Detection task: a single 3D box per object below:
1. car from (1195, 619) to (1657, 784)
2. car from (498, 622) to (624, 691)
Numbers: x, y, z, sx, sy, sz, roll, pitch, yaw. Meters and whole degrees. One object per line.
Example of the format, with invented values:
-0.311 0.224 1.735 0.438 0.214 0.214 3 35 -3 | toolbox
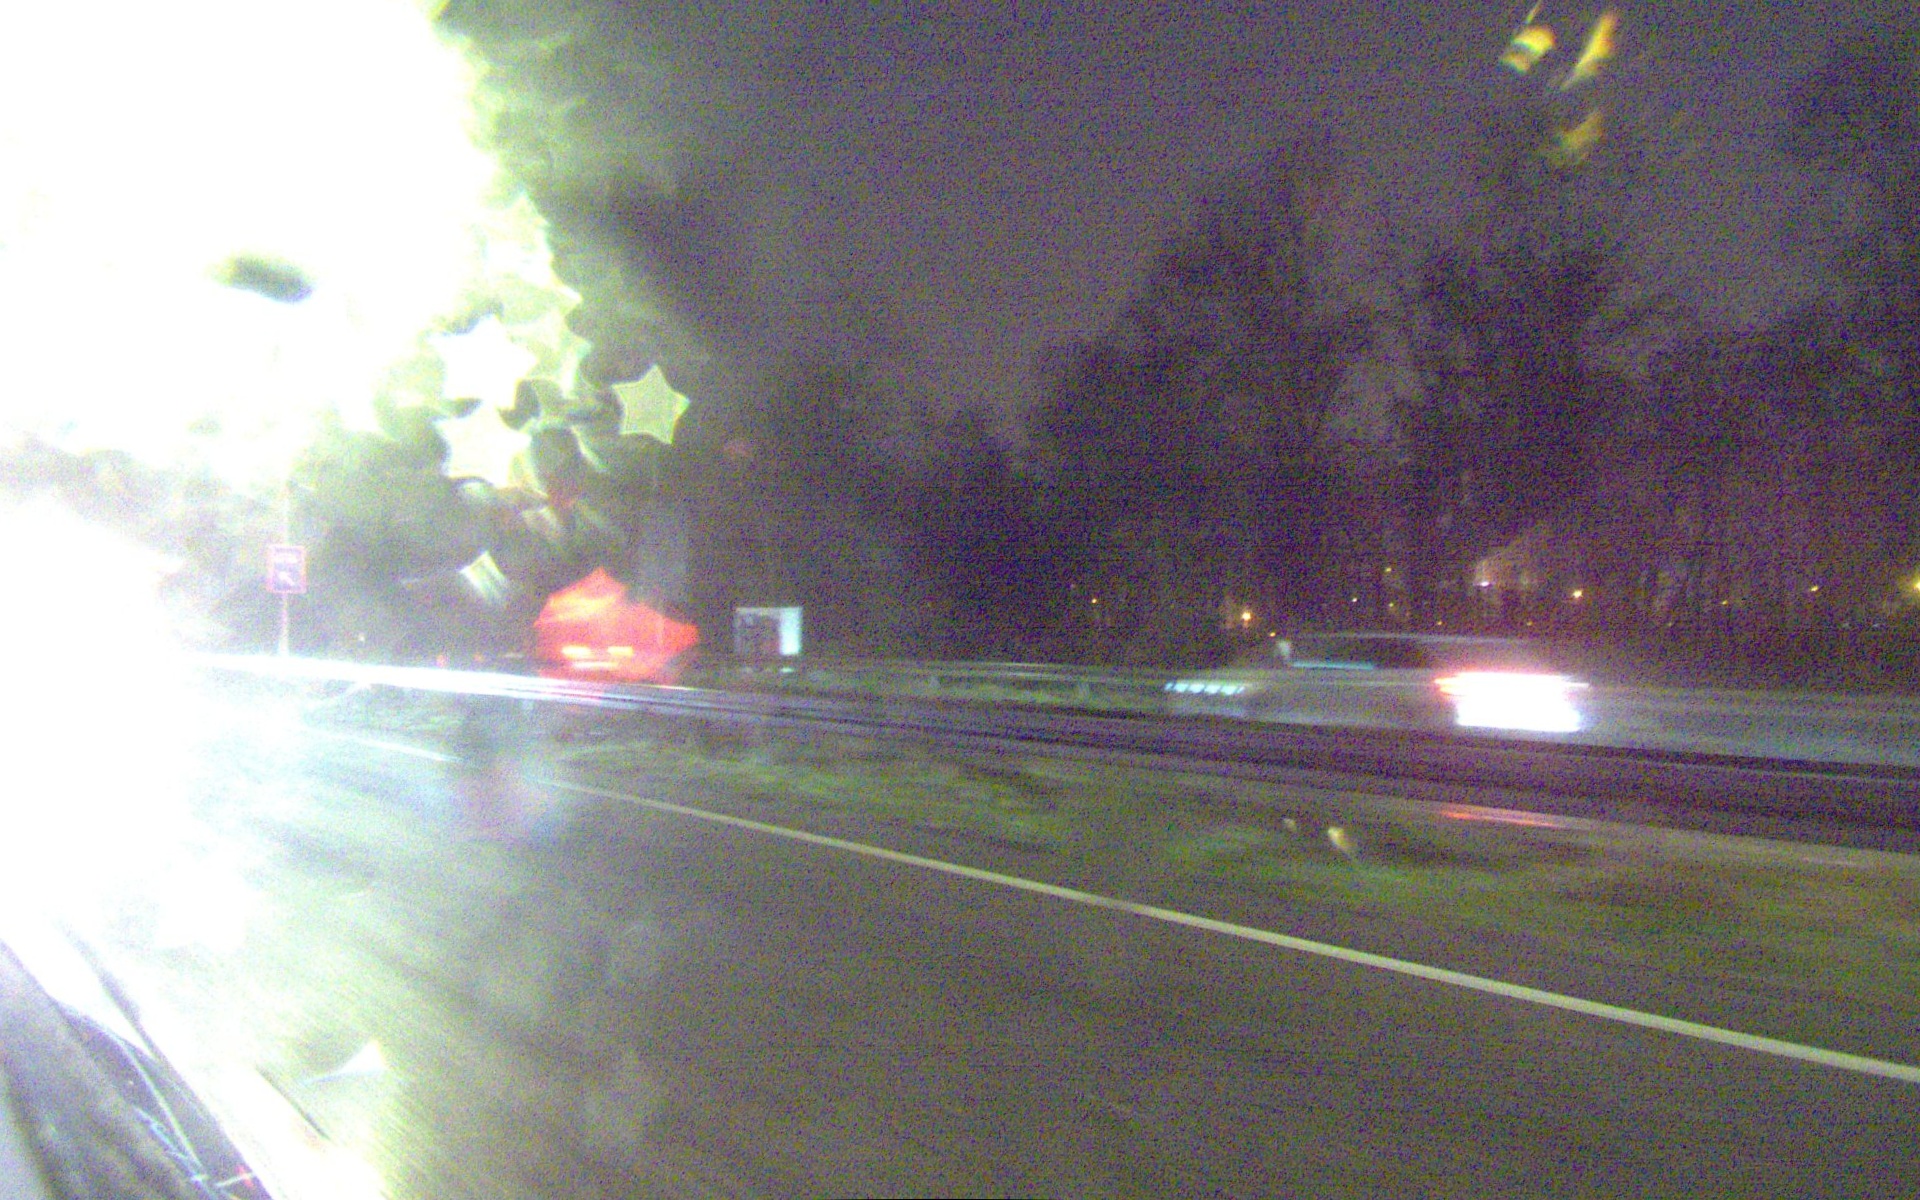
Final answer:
5.626 1.075 12.635 4.894 1.513 2.002 0 2 41 | car
-10.719 1.447 27.081 3.833 1.563 1.583 0 2 42 | car
